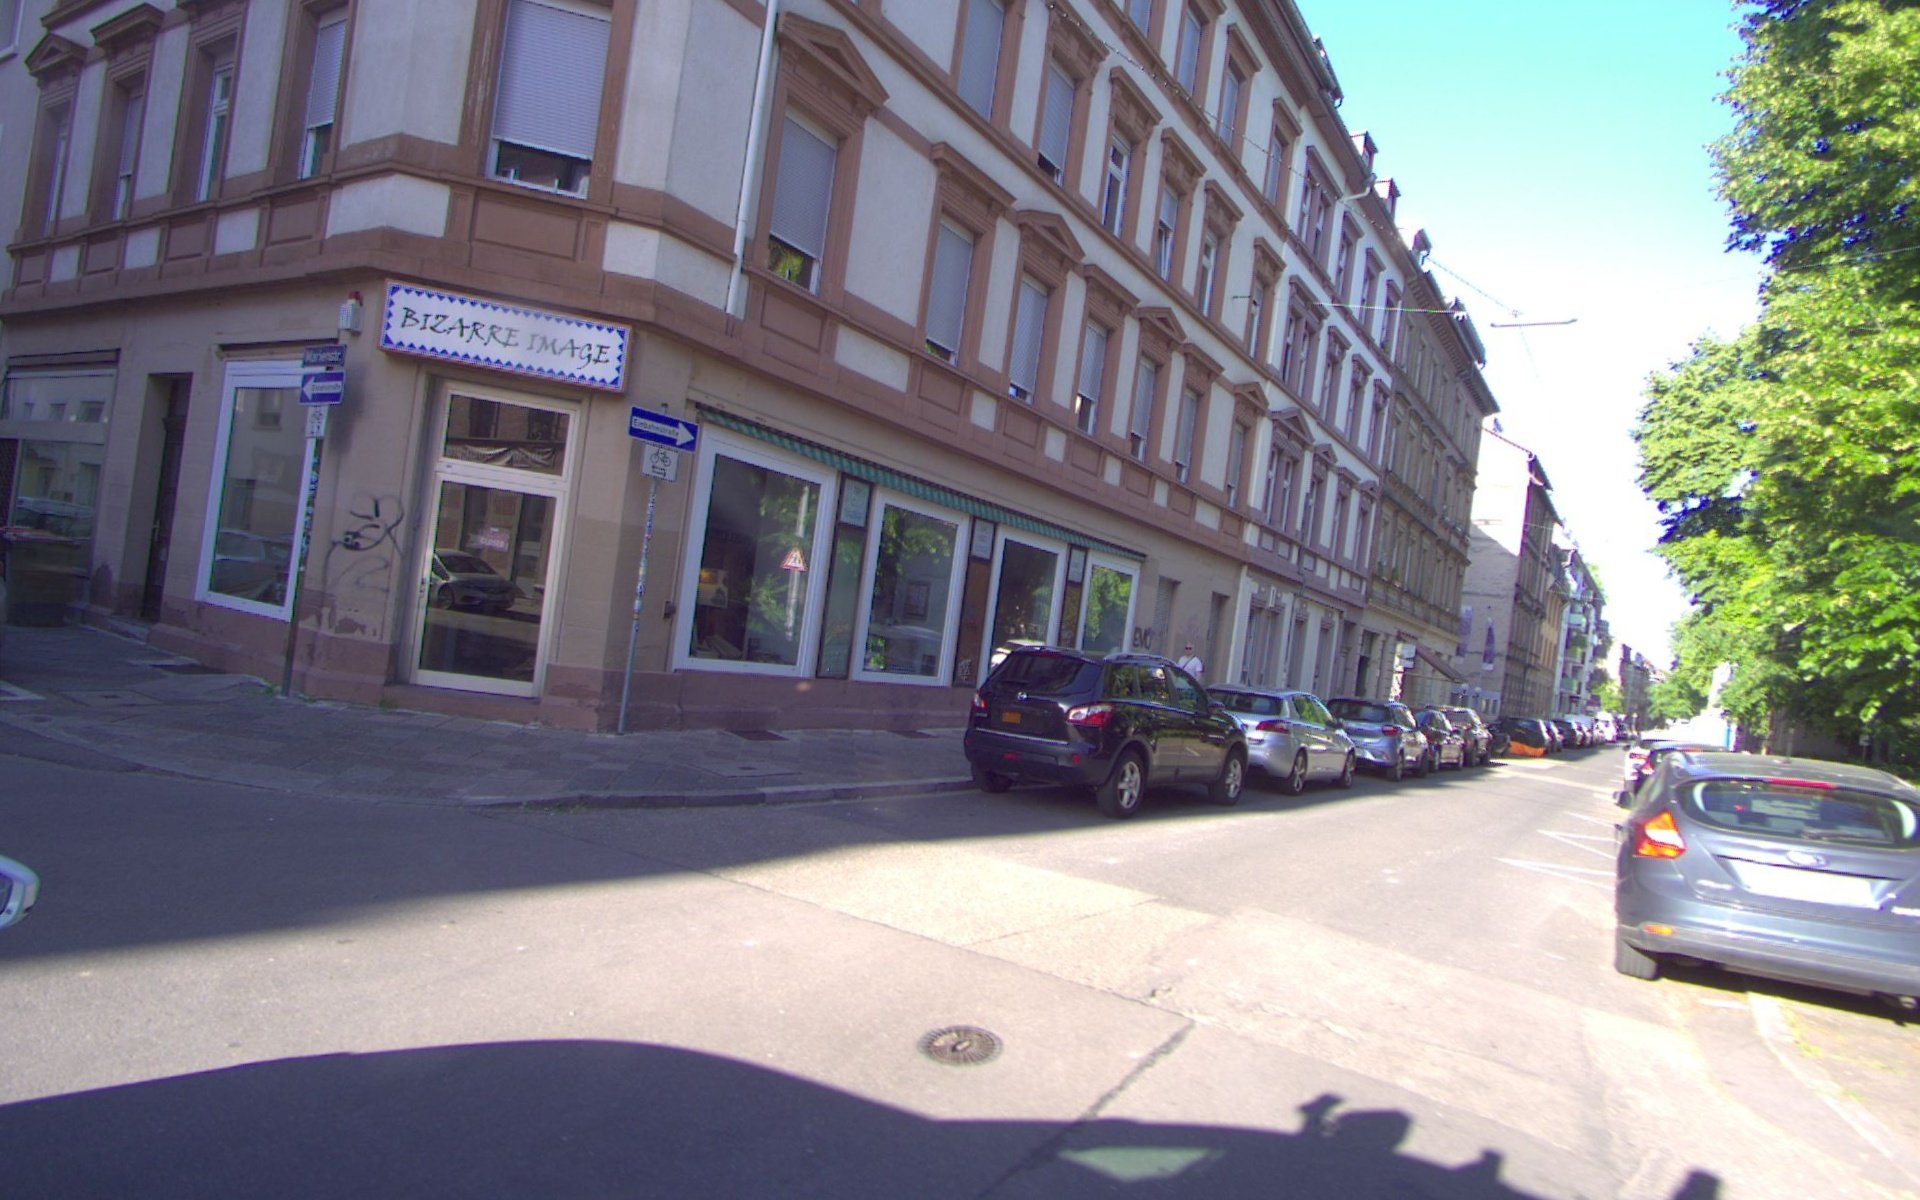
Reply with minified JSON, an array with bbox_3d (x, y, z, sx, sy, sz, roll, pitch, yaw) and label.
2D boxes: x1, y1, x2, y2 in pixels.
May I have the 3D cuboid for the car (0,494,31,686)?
[{"bbox_3d":[-9.870,-0.337,8.505,4.284,1.526,1.746,7,1,31],"label":"car"}]

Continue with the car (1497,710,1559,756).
[{"bbox_3d":[22.714,5.332,40.180,1.609,1.570,3.884,4,-4,37],"label":"car"}]

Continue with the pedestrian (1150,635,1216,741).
[{"bbox_3d":[4.393,1.740,19.842,0.787,1.943,0.716,10,0,31],"label":"pedestrian"}]

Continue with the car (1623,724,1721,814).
[{"bbox_3d":[16.316,3.814,22.984,1.609,1.667,3.533,4,-4,38],"label":"car"}]

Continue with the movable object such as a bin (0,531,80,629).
[{"bbox_3d":[-10.732,-0.230,11.707,0.609,1.053,0.514,7,1,32],"label":"movable object such as a bin"}]

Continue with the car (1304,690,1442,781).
[{"bbox_3d":[8.362,2.714,20.219,1.609,1.489,3.533,4,-4,38],"label":"car"}]

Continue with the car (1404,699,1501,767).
[{"bbox_3d":[13.788,3.722,28.077,1.609,1.570,3.883,4,-4,38],"label":"car"}]

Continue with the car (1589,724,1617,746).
[{"bbox_3d":[52.565,11.067,82.175,1.609,1.570,3.884,4,-4,37],"label":"car"}]

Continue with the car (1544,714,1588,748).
[{"bbox_3d":[32.859,7.103,54.509,1.609,1.570,3.884,4,-4,37],"label":"car"}]

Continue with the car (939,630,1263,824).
[{"bbox_3d":[1.725,1.368,11.120,1.735,1.626,3.921,4,-4,38],"label":"car"}]

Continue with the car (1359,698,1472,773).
[{"bbox_3d":[11.045,3.273,24.269,1.609,1.489,3.690,4,-4,38],"label":"car"}]

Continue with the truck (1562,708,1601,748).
[{"bbox_3d":[38.830,8.008,62.800,1.609,2.240,4.355,4,-4,37],"label":"truck"}]

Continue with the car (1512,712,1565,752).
[{"bbox_3d":[26.615,6.081,46.230,1.609,1.570,3.884,4,-4,37],"label":"car"}]

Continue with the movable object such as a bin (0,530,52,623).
[{"bbox_3d":[-11.372,-0.291,12.062,0.584,1.053,0.514,7,1,32],"label":"movable object such as a bin"}]

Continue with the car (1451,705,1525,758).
[{"bbox_3d":[18.755,4.678,35.650,1.609,1.570,3.883,4,-4,38],"label":"car"}]

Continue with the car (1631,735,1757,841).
[{"bbox_3d":[13.249,3.310,18.148,1.609,1.489,3.533,4,-4,38],"label":"car"}]

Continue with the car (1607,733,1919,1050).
[{"bbox_3d":[5.685,1.790,7.115,1.769,1.455,3.926,4,-4,33],"label":"car"}]

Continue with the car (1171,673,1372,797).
[{"bbox_3d":[4.853,2.047,15.321,1.609,1.489,3.857,4,-4,38],"label":"car"}]
